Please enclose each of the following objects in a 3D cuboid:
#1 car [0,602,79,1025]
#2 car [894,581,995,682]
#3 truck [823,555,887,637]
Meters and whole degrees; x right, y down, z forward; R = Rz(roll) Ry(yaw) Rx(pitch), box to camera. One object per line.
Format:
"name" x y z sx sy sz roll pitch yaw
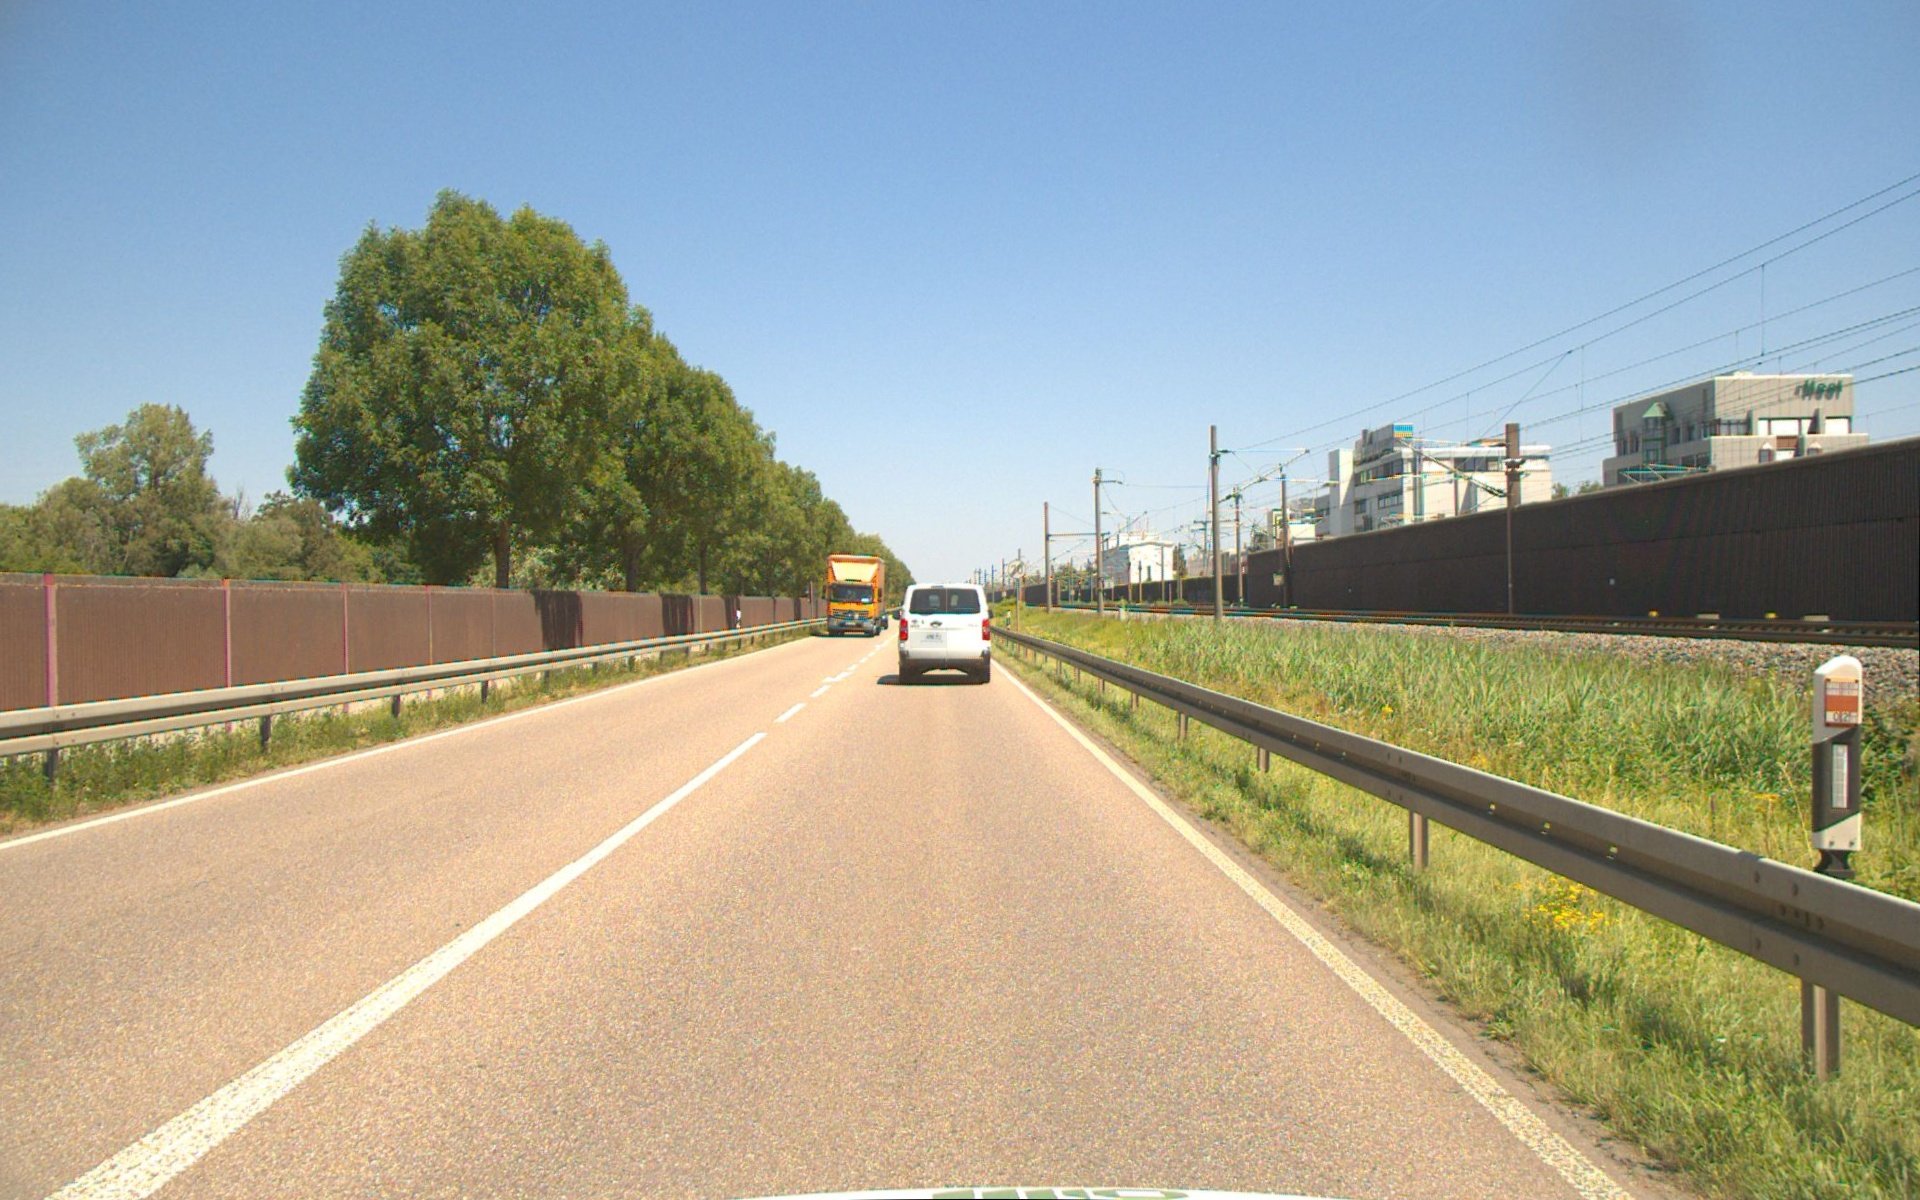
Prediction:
"car" -4.188 0.734 3.977 1.651 1.485 4.615 1 0 0
"car" -0.332 0.625 33.927 1.906 1.914 4.879 0 -1 -1
"truck" -5.202 -0.164 83.454 2.735 3.907 9.322 0 0 -1
